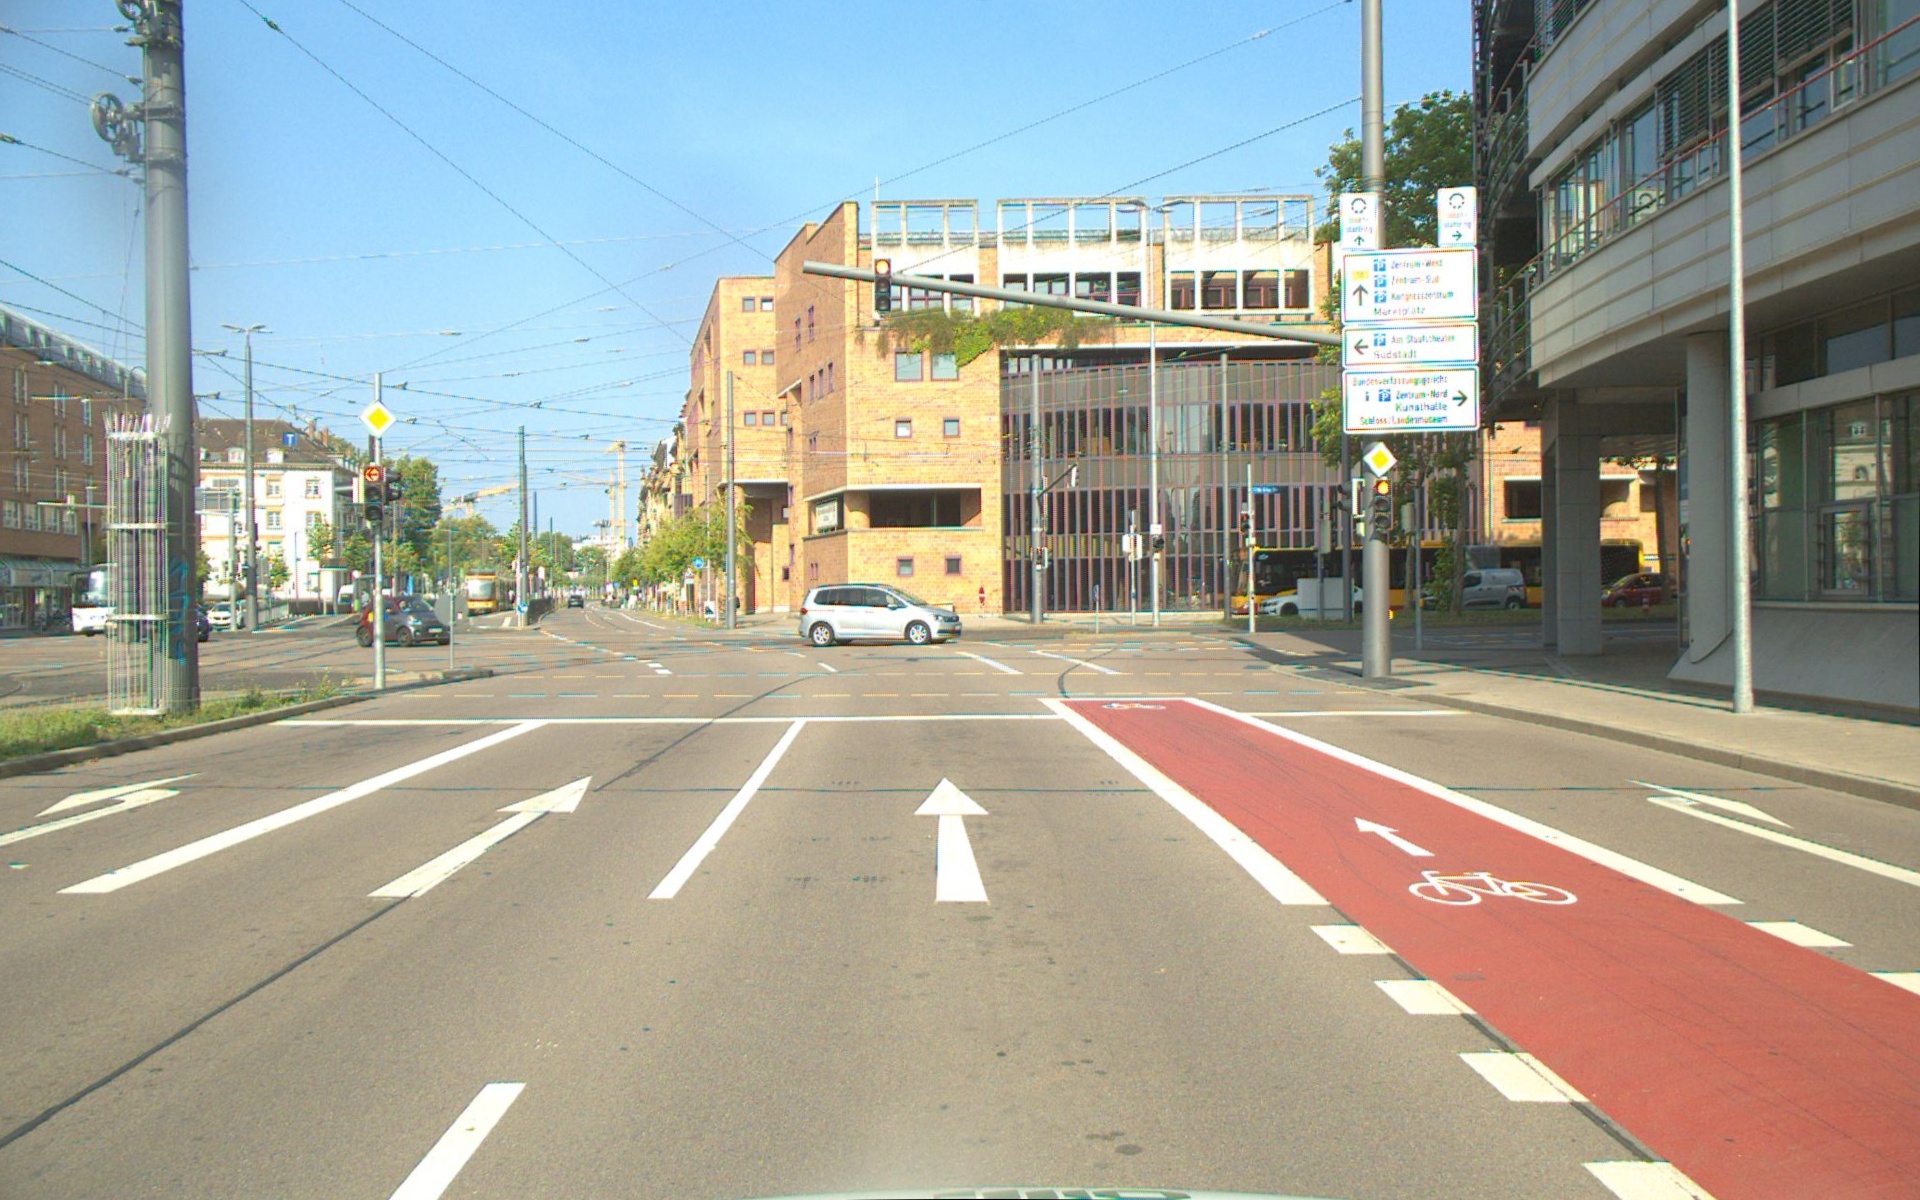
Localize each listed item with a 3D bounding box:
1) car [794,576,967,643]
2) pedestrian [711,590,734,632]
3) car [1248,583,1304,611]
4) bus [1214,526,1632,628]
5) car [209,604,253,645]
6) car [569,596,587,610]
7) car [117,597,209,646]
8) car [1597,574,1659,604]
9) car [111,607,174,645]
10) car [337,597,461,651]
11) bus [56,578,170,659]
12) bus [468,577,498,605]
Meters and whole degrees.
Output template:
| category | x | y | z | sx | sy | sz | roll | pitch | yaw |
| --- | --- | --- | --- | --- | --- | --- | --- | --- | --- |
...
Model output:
| category | x | y | z | sx | sy | sz | roll | pitch | yaw |
| --- | --- | --- | --- | --- | --- | --- | --- | --- | --- |
| car | -2.123 | 0.254 | 44.339 | 4.285 | 1.663 | 1.692 | -1 | 2 | 16 |
| pedestrian | -11.604 | 0.535 | 80.798 | 0.823 | 2.049 | 0.811 | -1 | 0 | 13 |
| car | 12.031 | -0.118 | 63.055 | 1.912 | 0.975 | 1.093 | 1 | -2 | -4 |
| bus | 19.286 | -0.968 | 68.736 | 17.297 | 3.877 | 2.857 | -1 | -1 | -12 |
| car | -37.574 | 1.283 | 85.274 | 1.574 | 2.049 | 2.721 | -1 | -1 | -13 |
| car | -45.677 | 0.365 | 197.828 | 2.038 | 1.569 | 4.398 | -1 | -1 | -14 |
| car | -28.471 | 0.775 | 59.001 | 1.973 | 1.664 | 4.350 | 0 | -2 | -40 |
| car | 26.523 | -0.437 | 65.677 | 2.195 | 1.131 | 0.722 | -1 | -1 | -6 |
| car | -33.731 | 1.100 | 68.322 | 1.966 | 1.513 | 4.192 | -1 | -1 | -22 |
| car | -17.239 | 0.745 | 50.836 | 3.525 | 1.518 | 1.699 | -1 | 1 | 31 |
| bus | -45.017 | 1.074 | 88.315 | 2.700 | 3.990 | 12.170 | -1 | -1 | -14 |
| bus | -35.990 | -0.677 | 124.905 | 1.960 | 2.049 | 3.986 | -1 | 0 | -14 |
